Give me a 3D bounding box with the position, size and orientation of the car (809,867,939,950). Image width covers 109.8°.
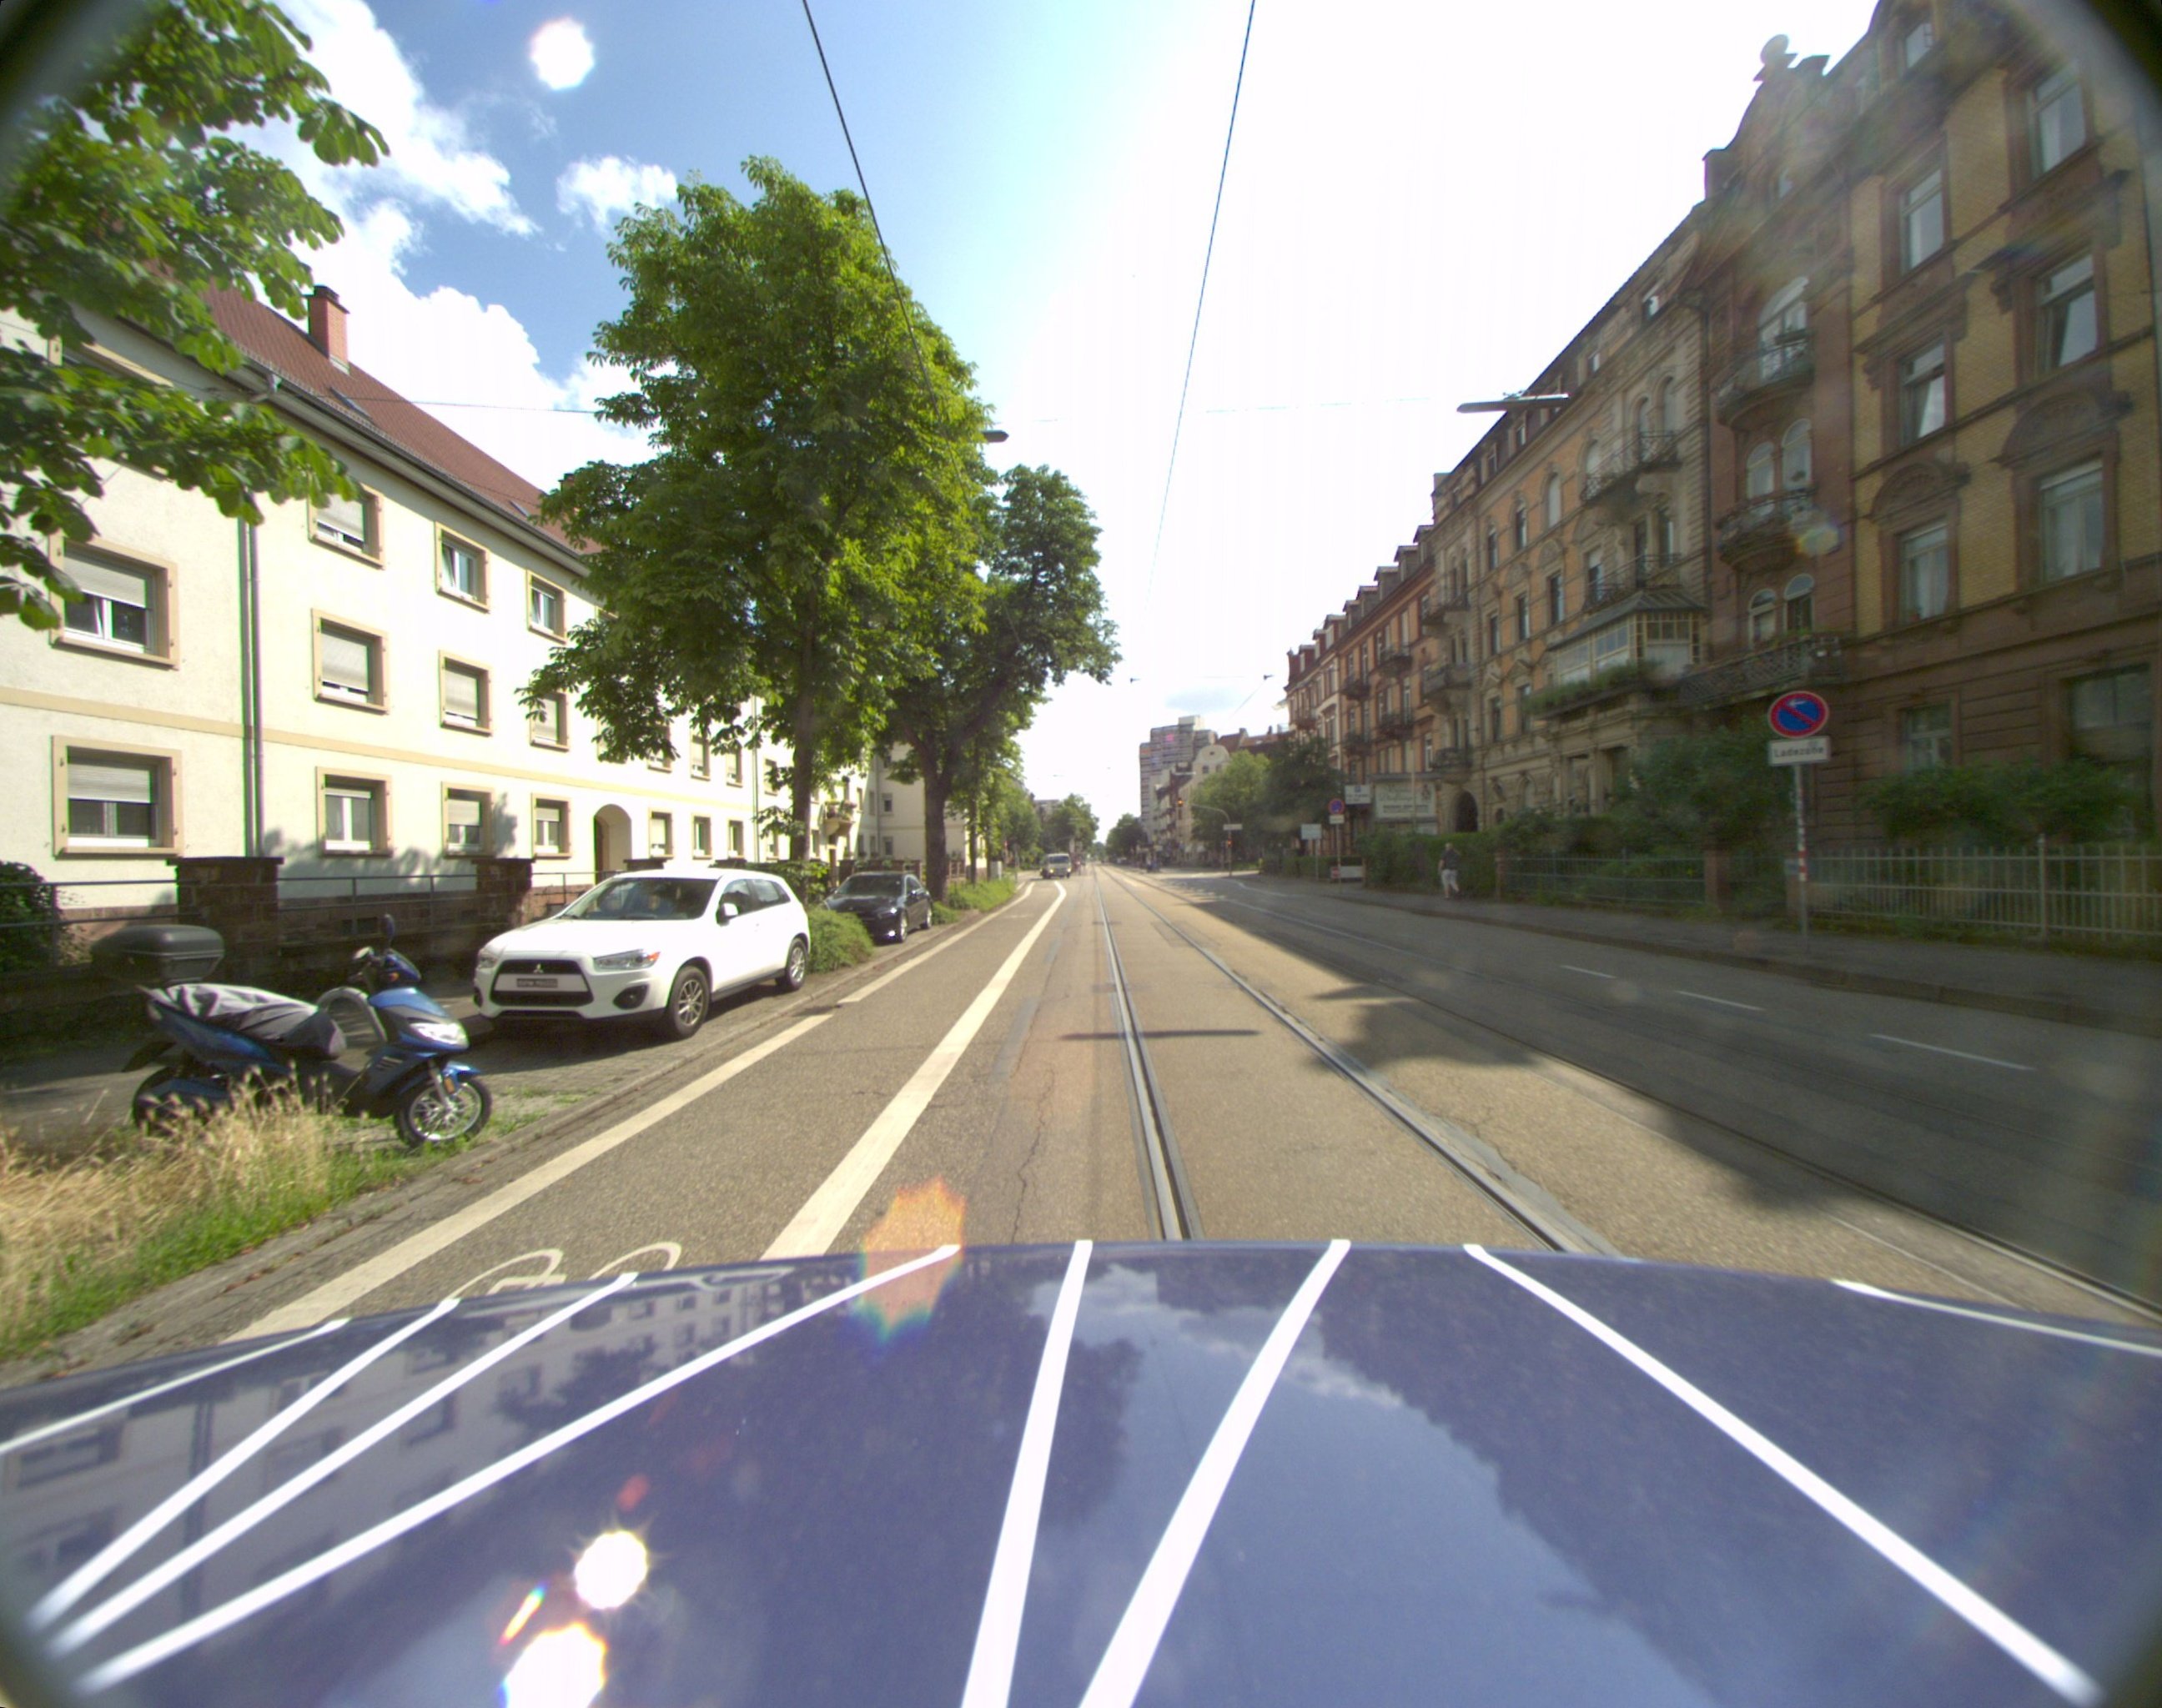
[{"bbox_3d":[-4.432,1.102,16.948,1.665,1.512,4.287,-2,0,0],"label":"car"}]

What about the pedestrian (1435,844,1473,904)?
[{"bbox_3d":[10.886,0.559,22.221,0.489,1.693,1.151,-2,0,-1],"label":"pedestrian"}]

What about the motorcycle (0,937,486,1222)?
[{"bbox_3d":[-4.719,1.204,4.309,2.012,1.329,0.747,-1,0,-3],"label":"motorcycle"}]

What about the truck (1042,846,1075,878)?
[{"bbox_3d":[-1.989,0.746,69.390,2.531,2.721,6.516,-1,0,1],"label":"truck"}]

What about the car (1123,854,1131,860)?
[{"bbox_3d":[11.846,0.853,196.085,1.841,1.482,3.892,-1,0,1],"label":"car"}]

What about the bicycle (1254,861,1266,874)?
[{"bbox_3d":[13.172,1.010,55.905,0.560,0.927,1.826,-1,0,4],"label":"bicycle"}]

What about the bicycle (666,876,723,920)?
[{"bbox_3d":[-10.723,1.204,21.162,0.626,1.128,1.801,-1,0,1],"label":"bicycle"}]

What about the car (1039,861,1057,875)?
[{"bbox_3d":[-3.737,1.575,87.319,1.751,1.471,3.653,-3,0,1],"label":"car"}]

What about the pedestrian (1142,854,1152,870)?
[{"bbox_3d":[6.814,0.831,78.272,0.783,1.565,0.692,-1,0,-13],"label":"pedestrian"}]

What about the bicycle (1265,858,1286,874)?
[{"bbox_3d":[13.962,0.861,54.534,1.308,1.124,0.497,-1,0,0],"label":"bicycle"}]

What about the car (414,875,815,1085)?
[{"bbox_3d":[-4.572,1.094,8.365,1.746,1.571,4.248,-2,0,0],"label":"car"}]

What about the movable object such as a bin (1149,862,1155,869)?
[{"bbox_3d":[7.379,1.239,78.931,0.513,0.713,0.457,-1,0,-13],"label":"movable object such as a bin"}]
